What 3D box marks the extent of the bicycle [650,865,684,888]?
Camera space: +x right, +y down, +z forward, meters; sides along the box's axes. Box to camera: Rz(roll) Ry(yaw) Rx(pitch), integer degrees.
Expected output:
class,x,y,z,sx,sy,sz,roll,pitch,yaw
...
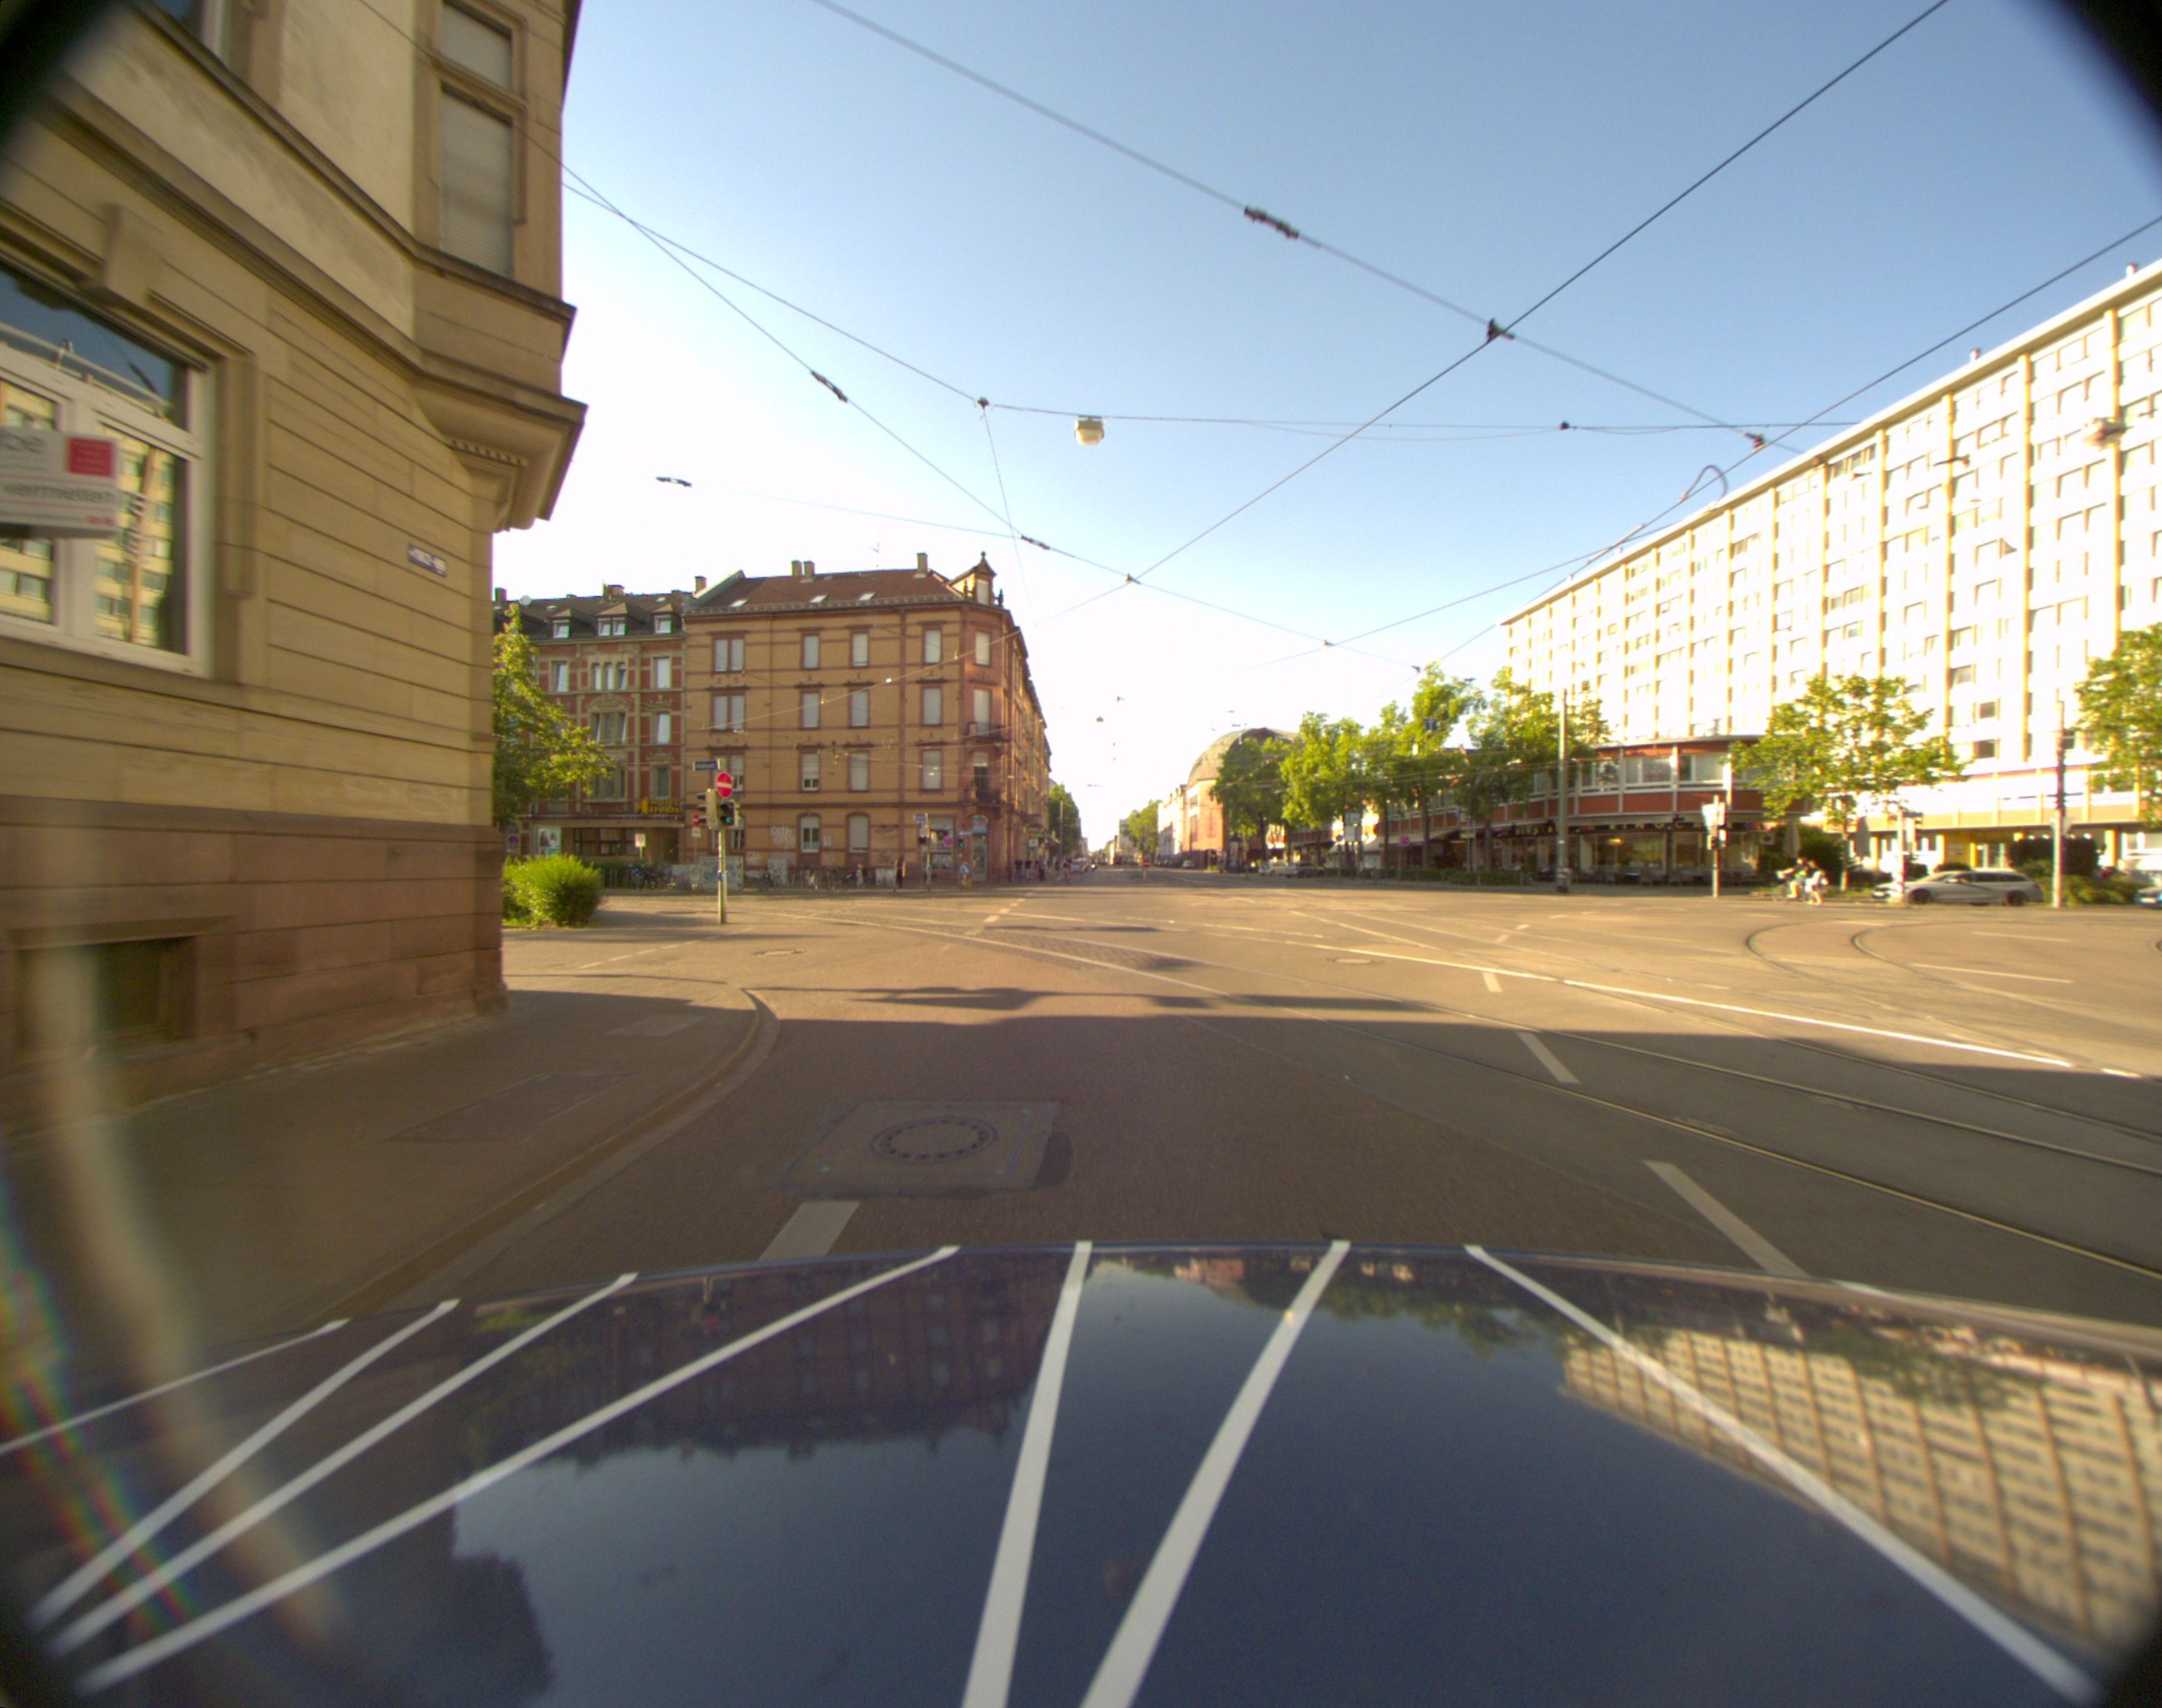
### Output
class,x,y,z,sx,sy,sz,roll,pitch,yaw
bicycle,-20.291,1.098,37.232,1.795,1.101,0.501,1,0,28

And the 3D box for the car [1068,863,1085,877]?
class,x,y,z,sx,sy,sz,roll,pitch,yaw
car,-0.564,1.863,89.854,1.670,1.674,4.002,1,-1,4

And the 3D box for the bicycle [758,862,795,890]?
class,x,y,z,sx,sy,sz,roll,pitch,yaw
bicycle,-14.787,1.087,36.960,0.755,1.255,1.970,2,-4,5

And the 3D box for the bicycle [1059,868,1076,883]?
class,x,y,z,sx,sy,sz,roll,pitch,yaw
bicycle,-0.860,1.374,48.987,0.885,0.949,1.766,2,0,4

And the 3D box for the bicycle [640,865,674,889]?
class,x,y,z,sx,sy,sz,roll,pitch,yaw
bicycle,-20.509,1.098,36.735,1.795,1.101,0.501,1,0,28

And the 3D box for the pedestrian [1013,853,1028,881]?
class,x,y,z,sx,sy,sz,roll,pitch,yaw
pedestrian,-3.803,0.830,47.742,0.777,1.713,0.754,3,0,2

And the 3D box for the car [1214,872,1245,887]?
class,x,y,z,sx,sy,sz,roll,pitch,yaw
car,20.276,3.458,103.630,4.007,1.952,1.907,0,0,-34

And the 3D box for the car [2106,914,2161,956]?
class,x,y,z,sx,sy,sz,roll,pitch,yaw
car,42.468,3.155,28.522,4.446,1.413,1.894,2,0,18

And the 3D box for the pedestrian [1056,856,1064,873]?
class,x,y,z,sx,sy,sz,roll,pitch,yaw
pedestrian,-2.218,1.087,79.340,0.700,1.713,0.503,3,0,2

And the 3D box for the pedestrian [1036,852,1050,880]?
class,x,y,z,sx,sy,sz,roll,pitch,yaw
pedestrian,-2.690,0.840,53.607,0.824,1.883,0.754,3,0,2

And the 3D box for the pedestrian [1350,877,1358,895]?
class,x,y,z,sx,sy,sz,roll,pitch,yaw
pedestrian,26.974,3.158,75.034,0.635,1.759,0.769,2,1,17

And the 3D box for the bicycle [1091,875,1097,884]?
class,x,y,z,sx,sy,sz,roll,pitch,yaw
bicycle,1.828,3.504,105.318,0.646,1.176,1.804,2,-1,-2

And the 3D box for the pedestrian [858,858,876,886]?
class,x,y,z,sx,sy,sz,roll,pitch,yaw
pedestrian,-12.550,1.059,44.568,0.743,1.562,0.763,0,4,8

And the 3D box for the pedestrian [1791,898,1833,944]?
class,x,y,z,sx,sy,sz,roll,pitch,yaw
pedestrian,27.318,2.488,28.412,0.869,1.671,0.697,2,-2,10

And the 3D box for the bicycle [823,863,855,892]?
class,x,y,z,sx,sy,sz,roll,pitch,yaw
bicycle,-11.645,1.146,36.668,0.755,1.255,1.837,2,-4,5

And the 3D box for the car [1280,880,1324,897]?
class,x,y,z,sx,sy,sz,roll,pitch,yaw
car,21.553,3.303,74.060,4.007,1.545,1.793,0,0,-30

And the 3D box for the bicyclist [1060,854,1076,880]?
class,x,y,z,sx,sy,sz,roll,pitch,yaw
bicyclist,-0.838,0.844,48.996,0.885,1.650,0.804,2,0,4

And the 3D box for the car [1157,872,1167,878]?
class,x,y,z,sx,sy,sz,roll,pitch,yaw
car,20.661,5.326,194.250,1.965,1.593,4.000,0,0,-1

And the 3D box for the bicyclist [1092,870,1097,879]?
class,x,y,z,sx,sy,sz,roll,pitch,yaw
bicyclist,1.907,2.856,105.354,0.646,1.176,0.723,2,0,-2

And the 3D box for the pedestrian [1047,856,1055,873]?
class,x,y,z,sx,sy,sz,roll,pitch,yaw
pedestrian,-3.168,1.090,79.629,0.700,1.713,0.681,3,0,3

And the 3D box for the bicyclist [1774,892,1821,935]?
class,x,y,z,sx,sy,sz,roll,pitch,yaw
bicyclist,25.258,2.094,26.797,0.842,1.458,0.897,-1,0,8

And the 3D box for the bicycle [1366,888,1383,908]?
class,x,y,z,sx,sy,sz,roll,pitch,yaw
bicycle,19.311,2.879,50.075,0.582,1.227,1.858,0,-1,7

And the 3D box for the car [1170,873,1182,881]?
class,x,y,z,sx,sy,sz,roll,pitch,yaw
car,21.136,5.122,168.887,1.965,1.593,4.000,0,0,-1

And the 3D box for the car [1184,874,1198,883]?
class,x,y,z,sx,sy,sz,roll,pitch,yaw
car,20.566,4.627,141.767,1.910,1.593,4.000,0,0,-1

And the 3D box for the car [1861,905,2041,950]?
class,x,y,z,sx,sy,sz,roll,pitch,yaw
car,35.275,2.949,30.977,4.446,1.413,1.894,2,0,18

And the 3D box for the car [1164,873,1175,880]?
class,x,y,z,sx,sy,sz,roll,pitch,yaw
car,20.392,5.157,175.093,1.965,1.593,4.000,0,0,-1

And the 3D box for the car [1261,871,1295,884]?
class,x,y,z,sx,sy,sz,roll,pitch,yaw
car,32.788,3.904,126.591,4.983,2.002,2.000,2,0,-1

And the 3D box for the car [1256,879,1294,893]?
class,x,y,z,sx,sy,sz,roll,pitch,yaw
car,21.665,3.569,84.873,4.007,1.466,1.793,0,0,-30

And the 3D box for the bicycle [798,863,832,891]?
class,x,y,z,sx,sy,sz,roll,pitch,yaw
bicycle,-12.935,1.153,36.987,0.755,1.255,1.970,2,-4,5

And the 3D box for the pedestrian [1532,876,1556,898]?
class,x,y,z,sx,sy,sz,roll,pitch,yaw
pedestrian,29.679,2.122,48.717,0.936,1.388,0.891,2,0,3

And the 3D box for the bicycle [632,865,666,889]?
class,x,y,z,sx,sy,sz,roll,pitch,yaw
bicycle,-20.705,1.089,36.383,1.795,1.101,0.501,1,0,28

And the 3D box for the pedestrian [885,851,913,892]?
class,x,y,z,sx,sy,sz,roll,pitch,yaw
pedestrian,-8.365,0.796,34.962,1.026,1.796,1.083,2,0,-2

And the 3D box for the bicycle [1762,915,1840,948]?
class,x,y,z,sx,sy,sz,roll,pitch,yaw
bicycle,25.258,2.707,26.724,0.842,0.921,2.266,-1,0,8

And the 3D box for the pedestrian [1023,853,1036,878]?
class,x,y,z,sx,sy,sz,roll,pitch,yaw
pedestrian,-3.649,0.839,53.901,0.777,1.713,0.754,3,0,2
